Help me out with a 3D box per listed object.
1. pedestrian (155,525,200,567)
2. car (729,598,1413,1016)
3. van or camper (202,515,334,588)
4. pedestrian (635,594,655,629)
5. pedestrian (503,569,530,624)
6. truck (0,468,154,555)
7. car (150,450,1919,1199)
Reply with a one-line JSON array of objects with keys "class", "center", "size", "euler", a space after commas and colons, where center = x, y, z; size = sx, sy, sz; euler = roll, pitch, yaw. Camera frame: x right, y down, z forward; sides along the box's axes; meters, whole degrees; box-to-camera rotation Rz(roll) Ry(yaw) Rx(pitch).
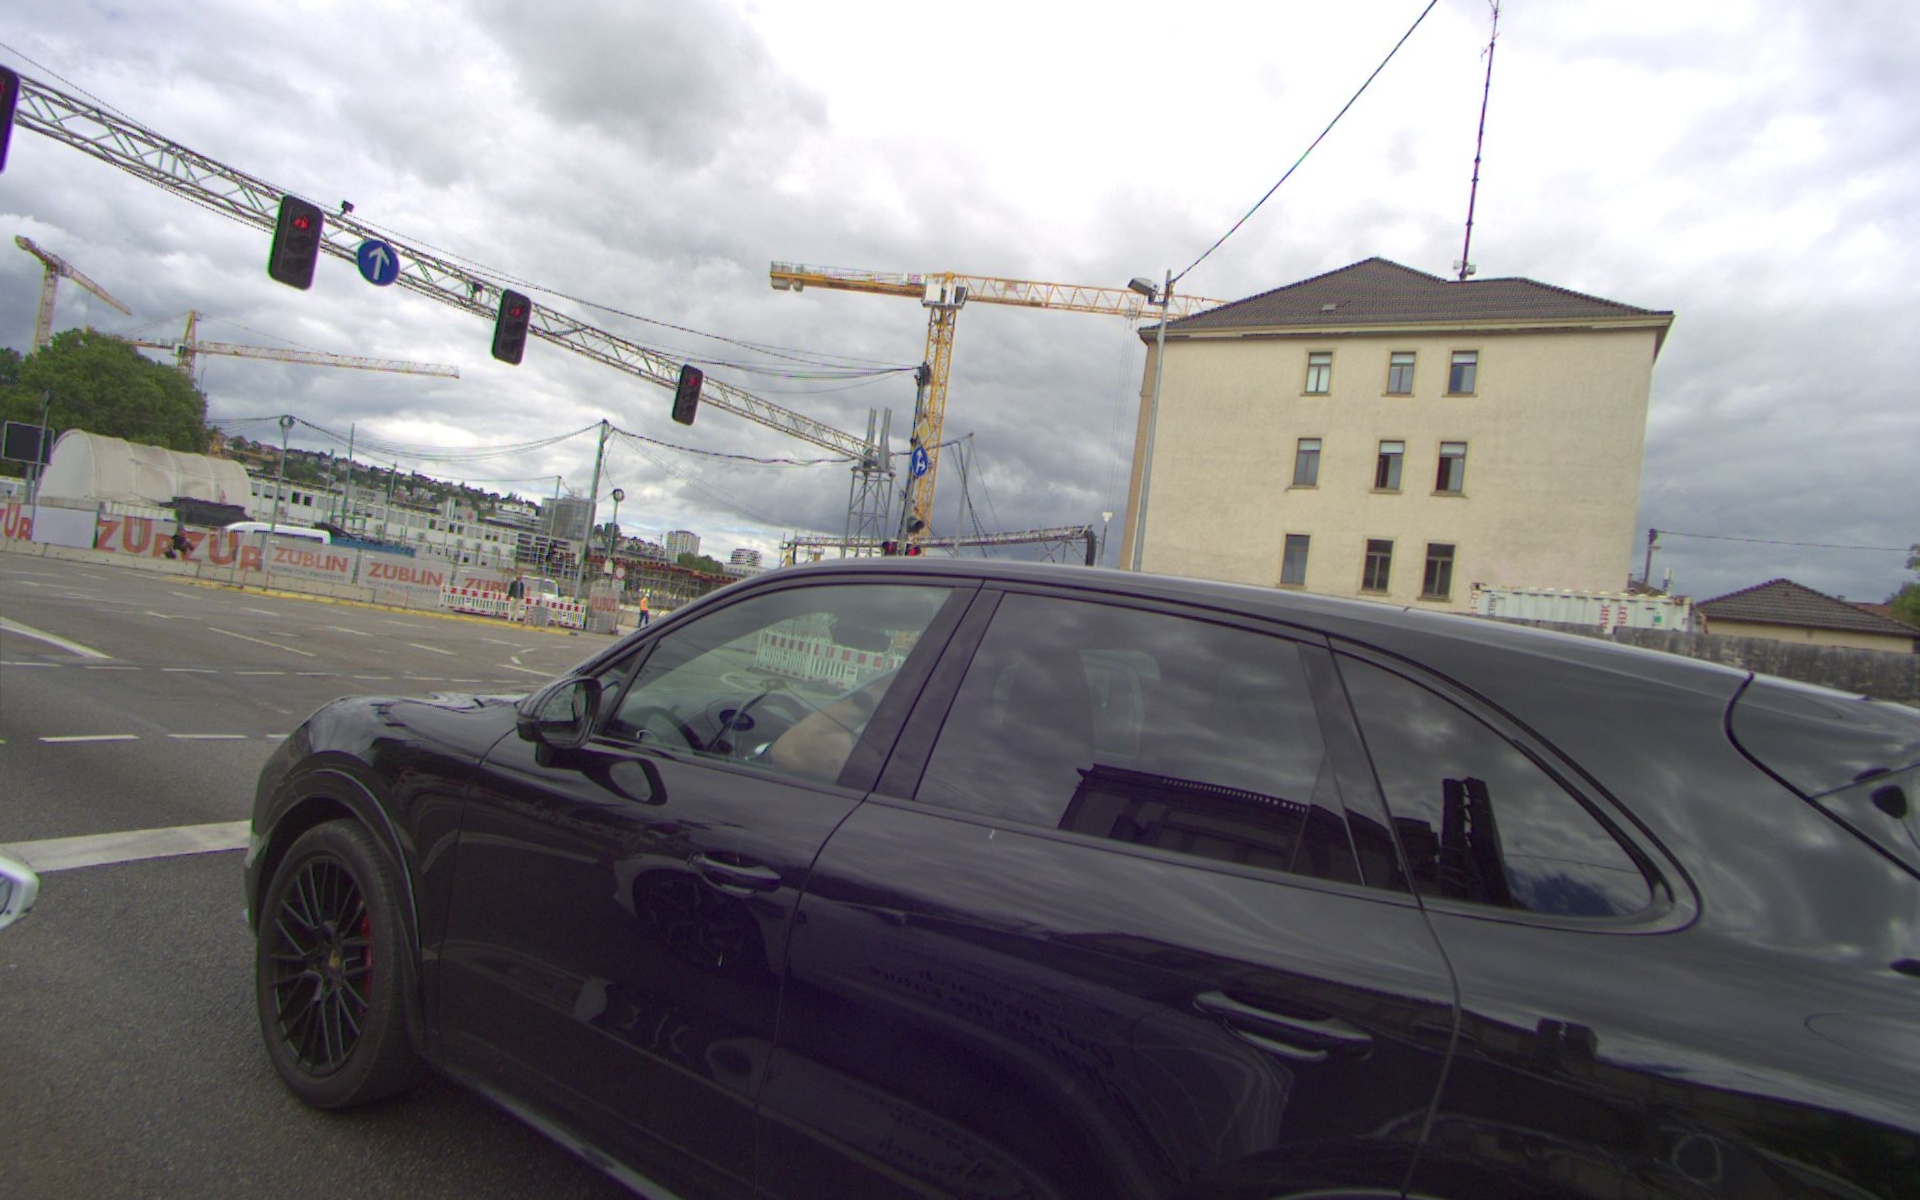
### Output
[{"class": "pedestrian", "center": [-29.777, -2.053, 38.281], "size": [0.888, 1.393, 0.800], "euler": [8, -1, 7]}, {"class": "car", "center": [0.591, 1.044, 6.371], "size": [3.818, 1.561, 1.667], "euler": [7, -2, 33]}, {"class": "van or camper", "center": [-29.812, -2.068, 43.411], "size": [4.204, 2.384, 1.976], "euler": [10, -3, -44]}, {"class": "pedestrian", "center": [-16.767, 0.610, 53.611], "size": [0.508, 1.737, 0.654], "euler": [7, -1, 21]}, {"class": "pedestrian", "center": [-17.218, -0.121, 39.024], "size": [0.647, 2.037, 0.513], "euler": [8, -1, -33]}, {"class": "truck", "center": [-57.900, -5.784, 61.930], "size": [3.875, 4.086, 13.089], "euler": [8, -2, 12]}, {"class": "car", "center": [0.035, 0.716, 2.695], "size": [4.559, 1.705, 1.959], "euler": [7, -2, 33]}]
